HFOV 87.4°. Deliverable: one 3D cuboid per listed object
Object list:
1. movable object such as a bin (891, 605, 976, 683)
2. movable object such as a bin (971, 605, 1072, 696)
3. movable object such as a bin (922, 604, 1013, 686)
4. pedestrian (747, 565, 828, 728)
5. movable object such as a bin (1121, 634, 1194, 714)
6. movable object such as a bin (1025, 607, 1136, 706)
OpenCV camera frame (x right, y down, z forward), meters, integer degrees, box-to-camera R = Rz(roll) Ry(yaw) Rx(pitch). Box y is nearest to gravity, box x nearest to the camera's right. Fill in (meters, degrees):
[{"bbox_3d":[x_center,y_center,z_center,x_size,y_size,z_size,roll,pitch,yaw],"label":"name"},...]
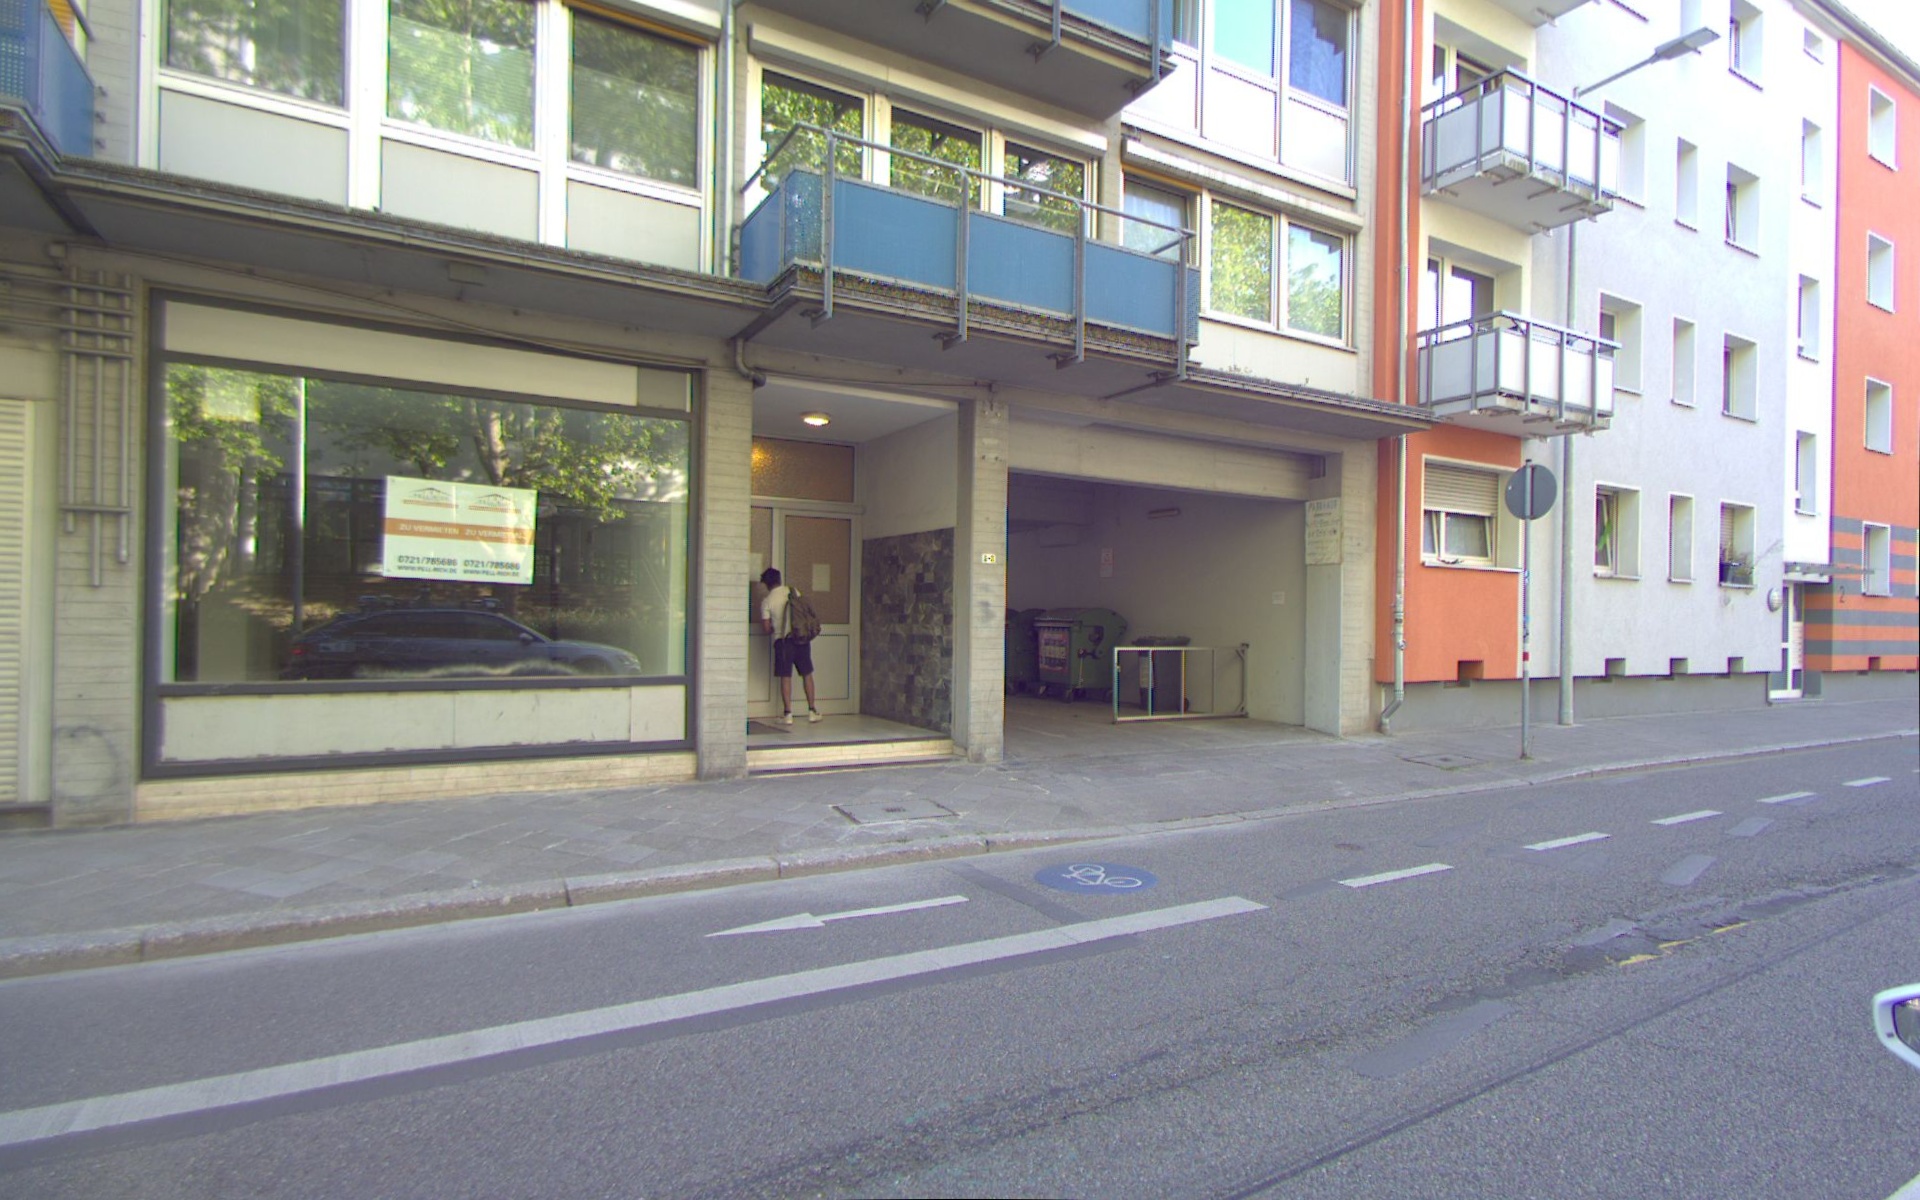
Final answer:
[{"bbox_3d":[-0.542,0.853,19.932,1.182,1.452,1.300,2,0,-30],"label":"movable object such as a bin"},{"bbox_3d":[1.039,0.843,17.193,1.182,1.452,1.300,2,0,-30],"label":"movable object such as a bin"},{"bbox_3d":[0.126,0.823,18.768,1.182,1.452,1.300,2,0,-30],"label":"movable object such as a bin"},{"bbox_3d":[-1.798,0.465,10.414,0.558,1.606,0.919,1,0,-28],"label":"pedestrian"},{"bbox_3d":[2.857,1.055,14.524,0.707,1.089,0.735,2,0,-30],"label":"movable object such as a bin"},{"bbox_3d":[1.880,0.862,15.806,1.182,1.452,1.300,2,0,-30],"label":"movable object such as a bin"}]
